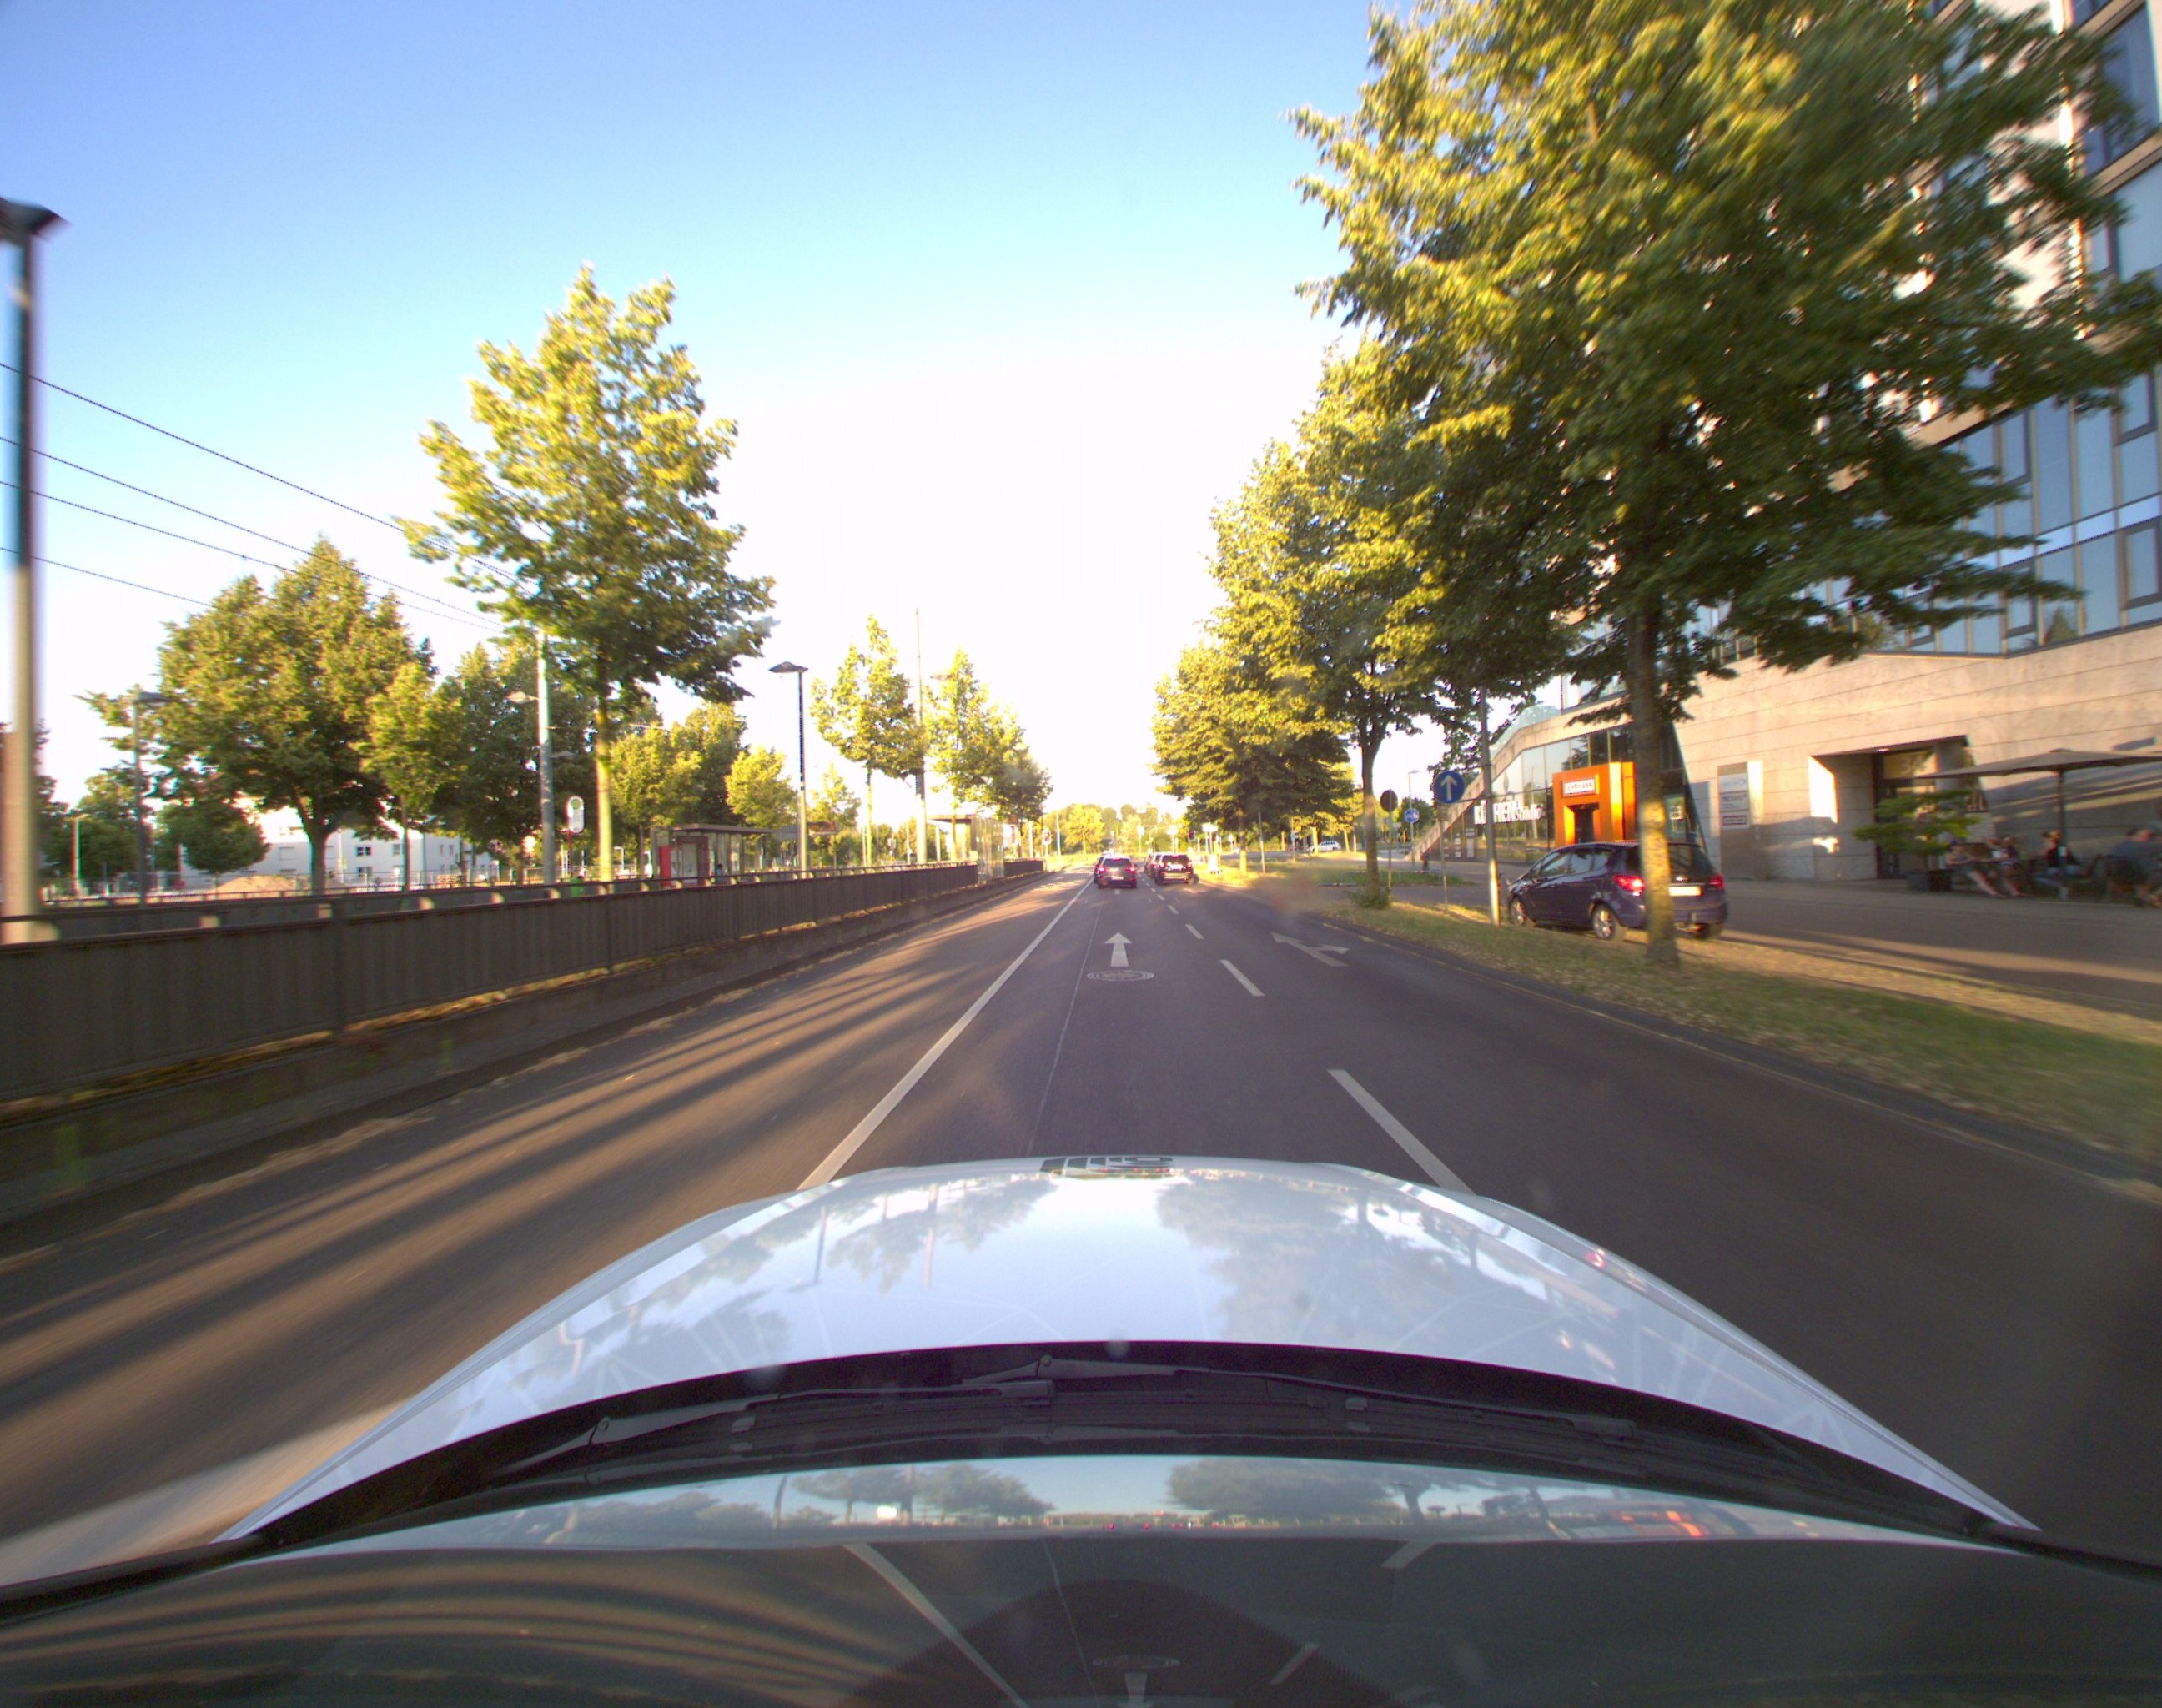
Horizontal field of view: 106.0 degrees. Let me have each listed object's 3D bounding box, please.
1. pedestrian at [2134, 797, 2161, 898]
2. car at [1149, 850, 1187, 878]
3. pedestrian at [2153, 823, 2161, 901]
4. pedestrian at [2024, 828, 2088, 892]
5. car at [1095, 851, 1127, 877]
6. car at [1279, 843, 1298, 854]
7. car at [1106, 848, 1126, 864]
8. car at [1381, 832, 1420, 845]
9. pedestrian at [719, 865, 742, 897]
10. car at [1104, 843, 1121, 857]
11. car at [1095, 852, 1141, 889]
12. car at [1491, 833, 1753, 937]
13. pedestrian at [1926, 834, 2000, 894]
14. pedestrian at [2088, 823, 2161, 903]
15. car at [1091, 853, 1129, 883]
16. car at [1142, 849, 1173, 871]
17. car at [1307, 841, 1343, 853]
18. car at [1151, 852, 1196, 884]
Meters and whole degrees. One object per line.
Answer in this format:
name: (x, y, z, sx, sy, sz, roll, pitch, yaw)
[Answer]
pedestrian: (18.737, -0.115, 13.922, 0.635, 1.718, 0.695, -2, 0, -18)
car: (5.133, 0.559, 48.311, 1.905, 1.486, 4.002, -2, 0, 2)
pedestrian: (18.043, 0.119, 13.104, 0.577, 1.282, 0.738, -2, 0, -2)
pedestrian: (18.741, 0.104, 15.663, 0.618, 1.186, 0.714, -2, 0, -35)
car: (1.870, 0.584, 51.112, 1.905, 1.486, 4.002, -2, 0, 2)
car: (36.334, -0.930, 142.465, 1.974, 1.728, 4.026, -2, 0, 32)
car: (3.447, 0.178, 80.292, 1.905, 1.486, 4.002, -2, 0, 2)
car: (41.730, -2.020, 106.420, 4.396, 1.486, 1.924, -2, 0, 11)
pedestrian: (-15.236, 1.166, 35.426, 0.613, 1.319, 0.744, -2, 0, -1)
car: (3.652, -0.461, 94.699, 1.905, 1.486, 4.002, -2, 0, 2)
car: (1.654, 0.708, 36.823, 1.905, 1.486, 4.002, -2, 0, 2)
car: (9.046, 0.450, 14.109, 1.751, 1.466, 4.158, -2, 0, 0)
pedestrian: (18.101, 0.200, 16.728, 0.569, 1.186, 0.862, -2, 0, 3)
pedestrian: (17.358, 0.138, 13.460, 0.627, 1.282, 0.712, -2, 0, -19)
car: (1.527, 0.705, 43.697, 1.905, 1.486, 4.002, -2, 0, 2)
car: (5.400, 0.410, 57.741, 1.905, 1.486, 4.002, -2, 0, 2)
car: (32.895, -0.960, 109.881, 4.386, 1.486, 1.929, -2, 0, 24)
car: (4.579, 0.671, 40.738, 1.904, 1.486, 4.002, -2, 0, 2)
